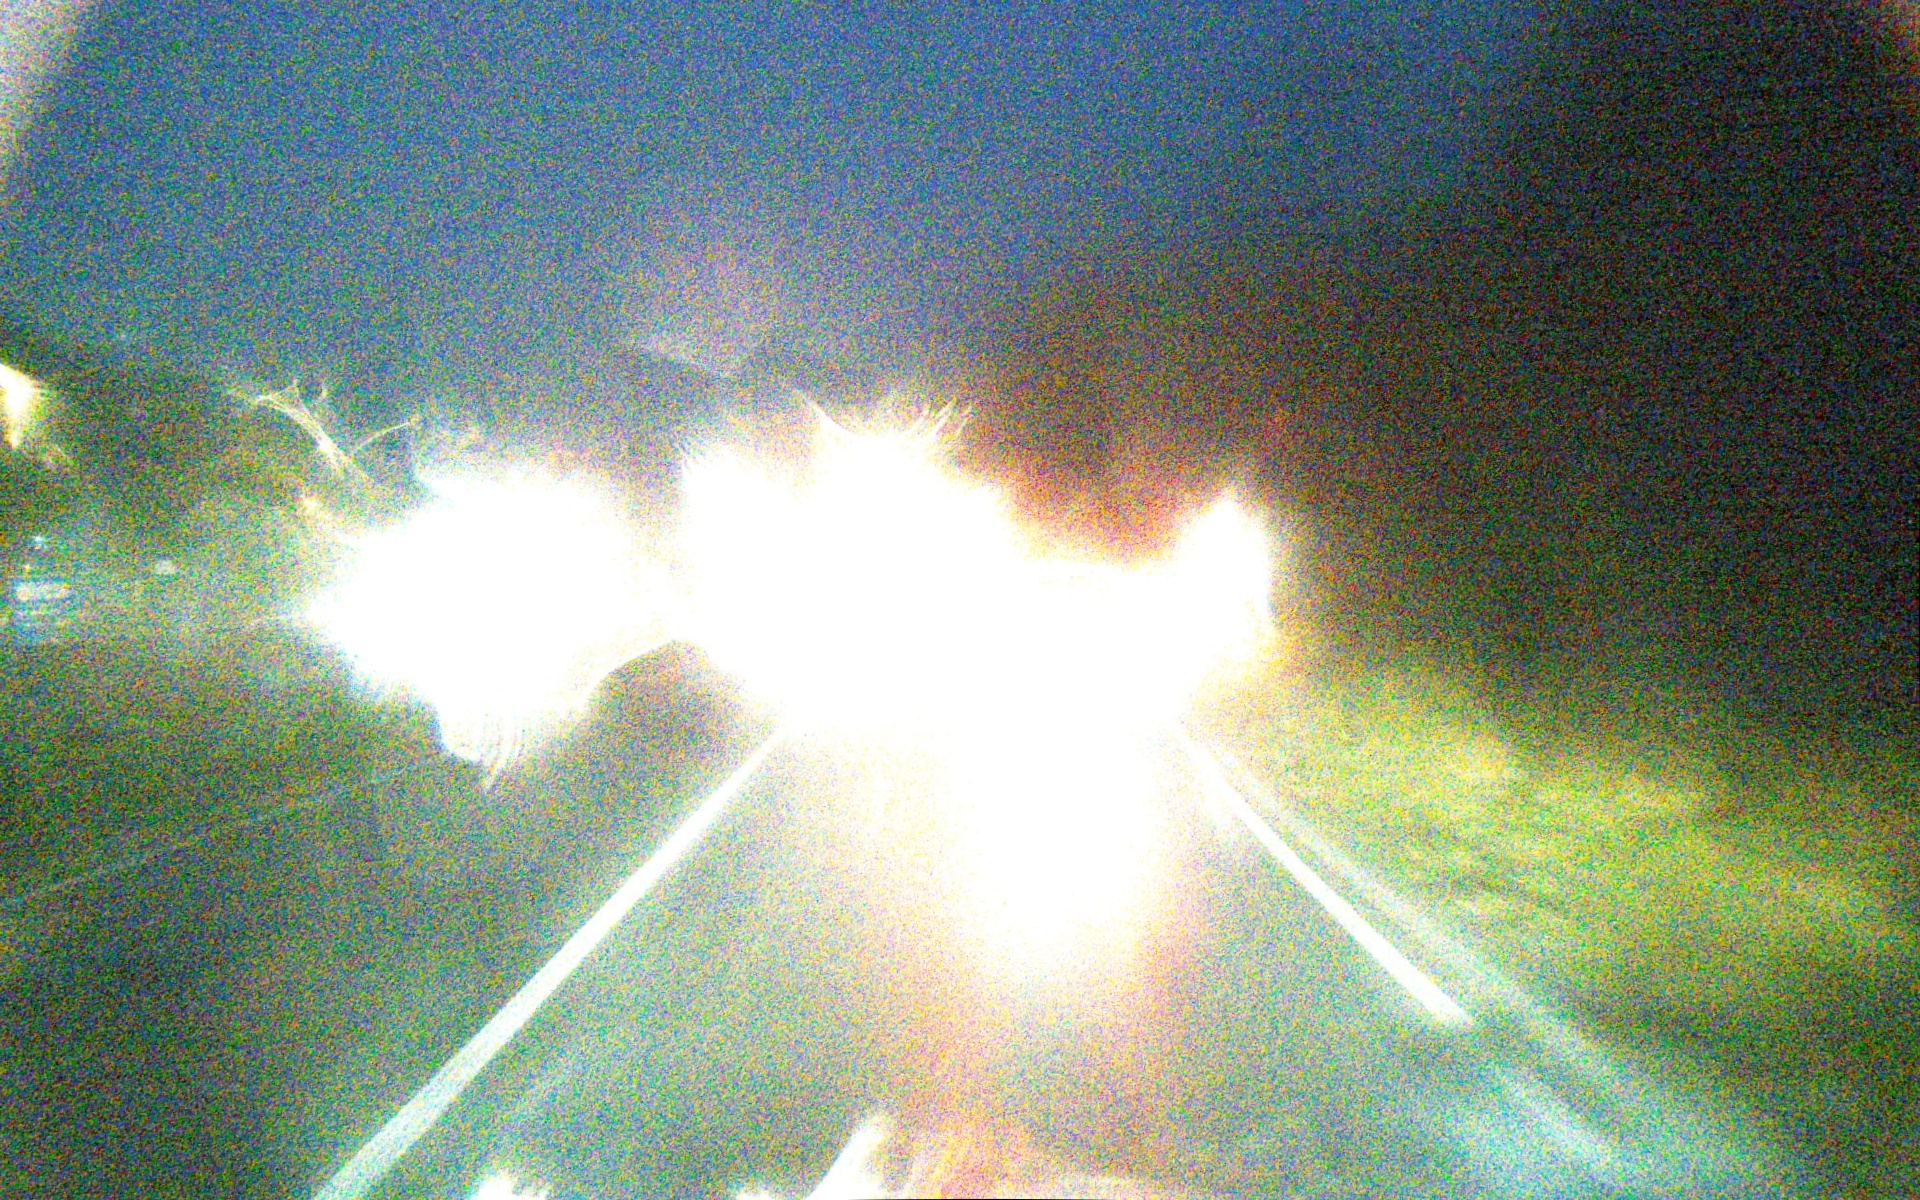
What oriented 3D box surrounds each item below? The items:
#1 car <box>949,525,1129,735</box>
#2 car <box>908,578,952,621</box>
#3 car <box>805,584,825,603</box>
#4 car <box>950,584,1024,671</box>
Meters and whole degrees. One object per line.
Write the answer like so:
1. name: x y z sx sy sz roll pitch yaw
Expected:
1. car: 0.879 0.271 18.946 1.754 2.057 4.581 -2 1 2
2. car: -1.383 -0.050 74.680 1.748 1.813 4.433 -2 1 -4
3. car: -13.260 -0.581 151.443 1.766 1.616 4.027 -1 0 -4
4. car: 0.746 0.643 42.566 1.754 2.057 4.581 -2 1 2
